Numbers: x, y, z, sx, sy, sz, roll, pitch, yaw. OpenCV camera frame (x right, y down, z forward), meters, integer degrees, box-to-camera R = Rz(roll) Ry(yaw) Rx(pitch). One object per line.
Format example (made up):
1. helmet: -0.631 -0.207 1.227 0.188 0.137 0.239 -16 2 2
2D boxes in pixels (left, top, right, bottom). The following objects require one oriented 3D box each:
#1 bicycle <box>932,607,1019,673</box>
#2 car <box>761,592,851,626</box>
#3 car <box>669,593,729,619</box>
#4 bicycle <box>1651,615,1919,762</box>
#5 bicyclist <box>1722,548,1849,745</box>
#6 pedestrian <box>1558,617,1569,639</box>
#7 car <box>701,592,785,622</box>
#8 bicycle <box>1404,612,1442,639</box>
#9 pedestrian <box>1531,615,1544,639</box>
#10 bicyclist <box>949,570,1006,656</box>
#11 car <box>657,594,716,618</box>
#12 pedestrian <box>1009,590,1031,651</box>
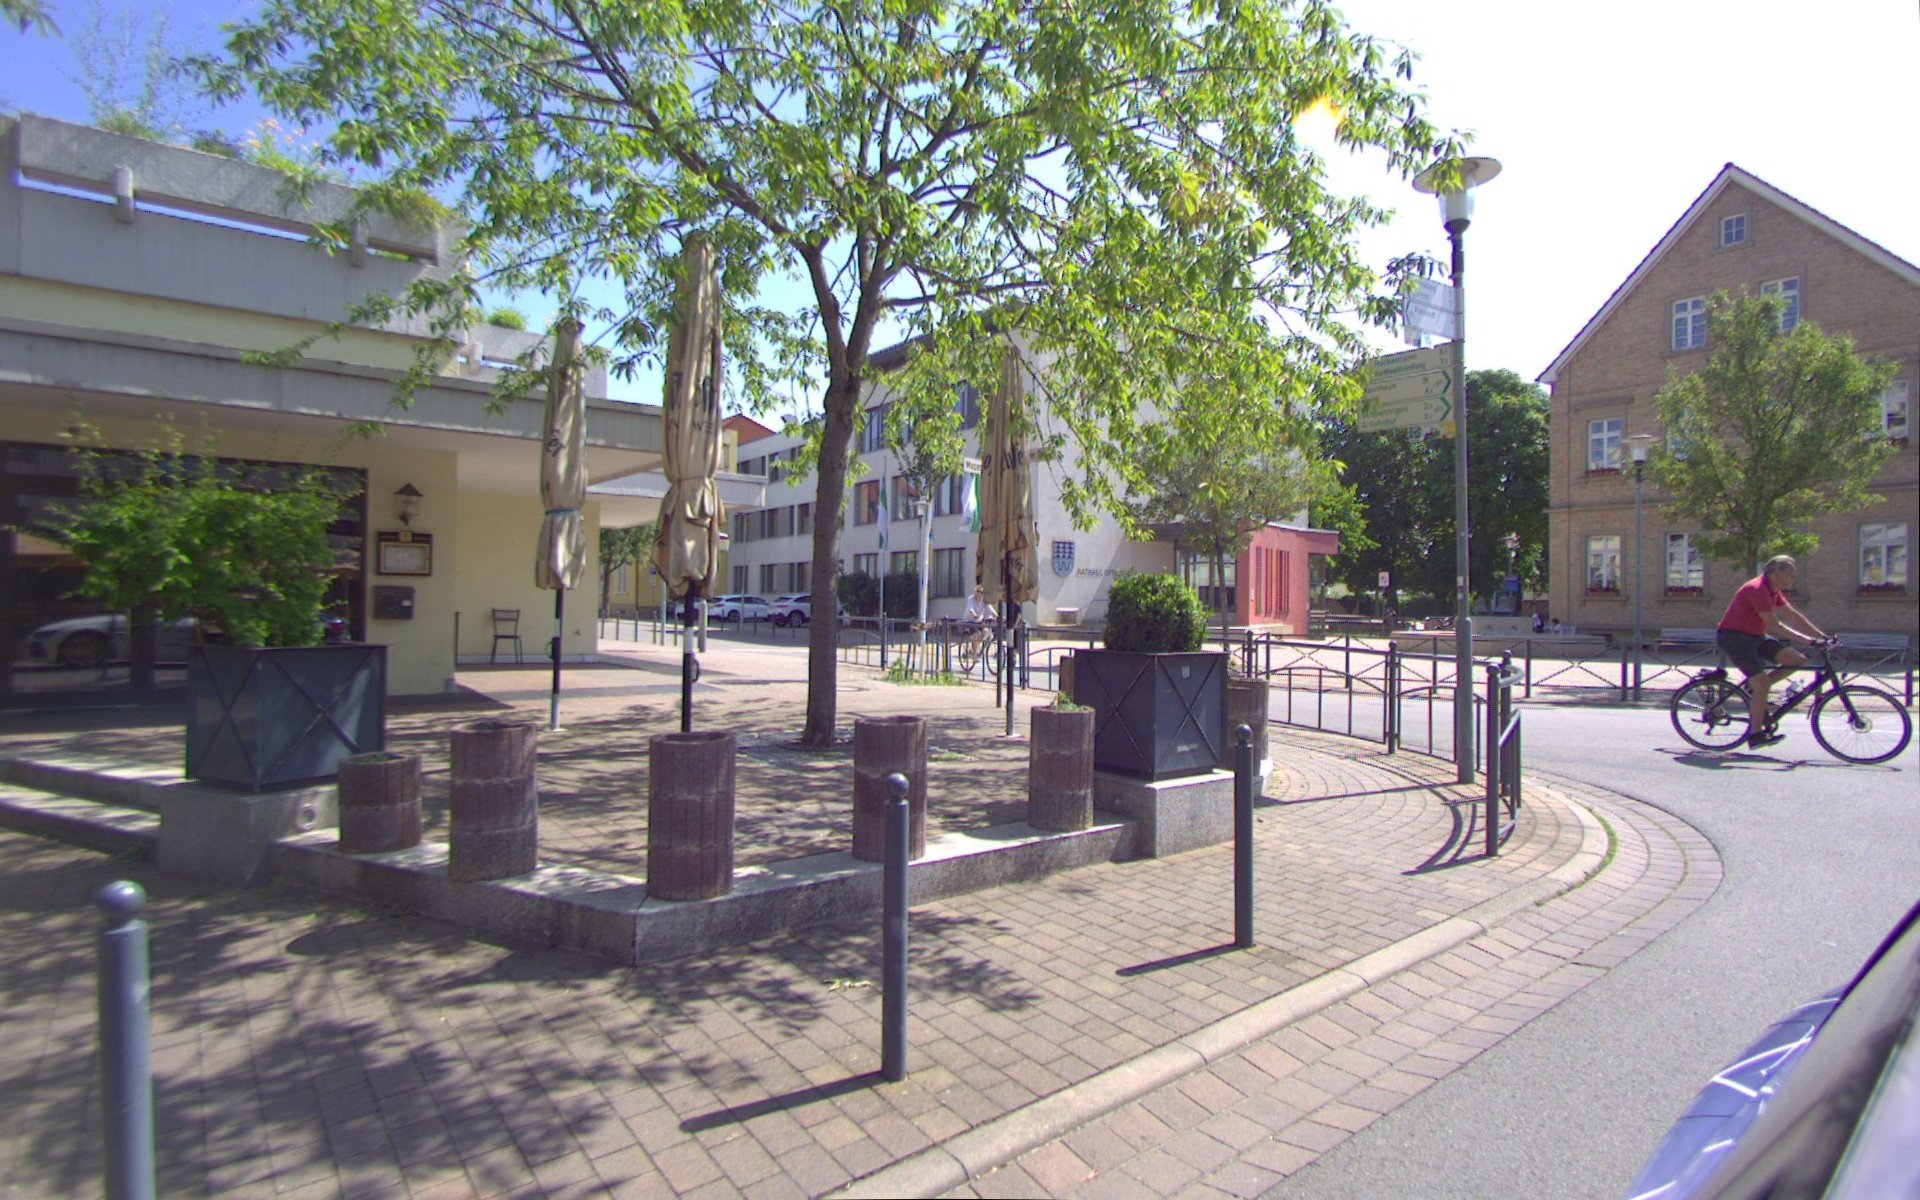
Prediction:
1. bicycle: 0.279 0.752 19.369 0.677 1.205 1.798 3 -3 -38
2. car: -7.338 0.404 48.287 3.925 1.567 1.748 0 0 -36
3. car: -15.263 0.344 59.172 3.081 1.468 1.643 0 0 -34
4. bicycle: 7.745 0.758 9.475 0.725 1.204 1.969 -1 0 -38
5. bicyclist: 7.697 0.400 9.440 0.690 1.738 0.759 0 0 -37
6. pedestrian: 20.870 0.963 35.008 0.288 0.741 0.353 0 -1 39
7. car: -11.808 0.348 55.248 4.245 1.497 1.514 -1 1 -34
8. bicycle: 19.012 1.019 41.535 1.918 1.018 0.580 -2 1 -36
9. pedestrian: 20.327 0.963 35.626 0.365 0.828 0.356 0 -1 39
10. bicyclist: 0.336 0.239 19.346 0.690 1.601 0.878 0 1 -37
11. car: -16.473 0.348 61.022 3.199 1.419 1.374 0 0 -36
12. pedestrian: 1.627 0.549 27.583 0.539 1.639 0.557 1 0 0
